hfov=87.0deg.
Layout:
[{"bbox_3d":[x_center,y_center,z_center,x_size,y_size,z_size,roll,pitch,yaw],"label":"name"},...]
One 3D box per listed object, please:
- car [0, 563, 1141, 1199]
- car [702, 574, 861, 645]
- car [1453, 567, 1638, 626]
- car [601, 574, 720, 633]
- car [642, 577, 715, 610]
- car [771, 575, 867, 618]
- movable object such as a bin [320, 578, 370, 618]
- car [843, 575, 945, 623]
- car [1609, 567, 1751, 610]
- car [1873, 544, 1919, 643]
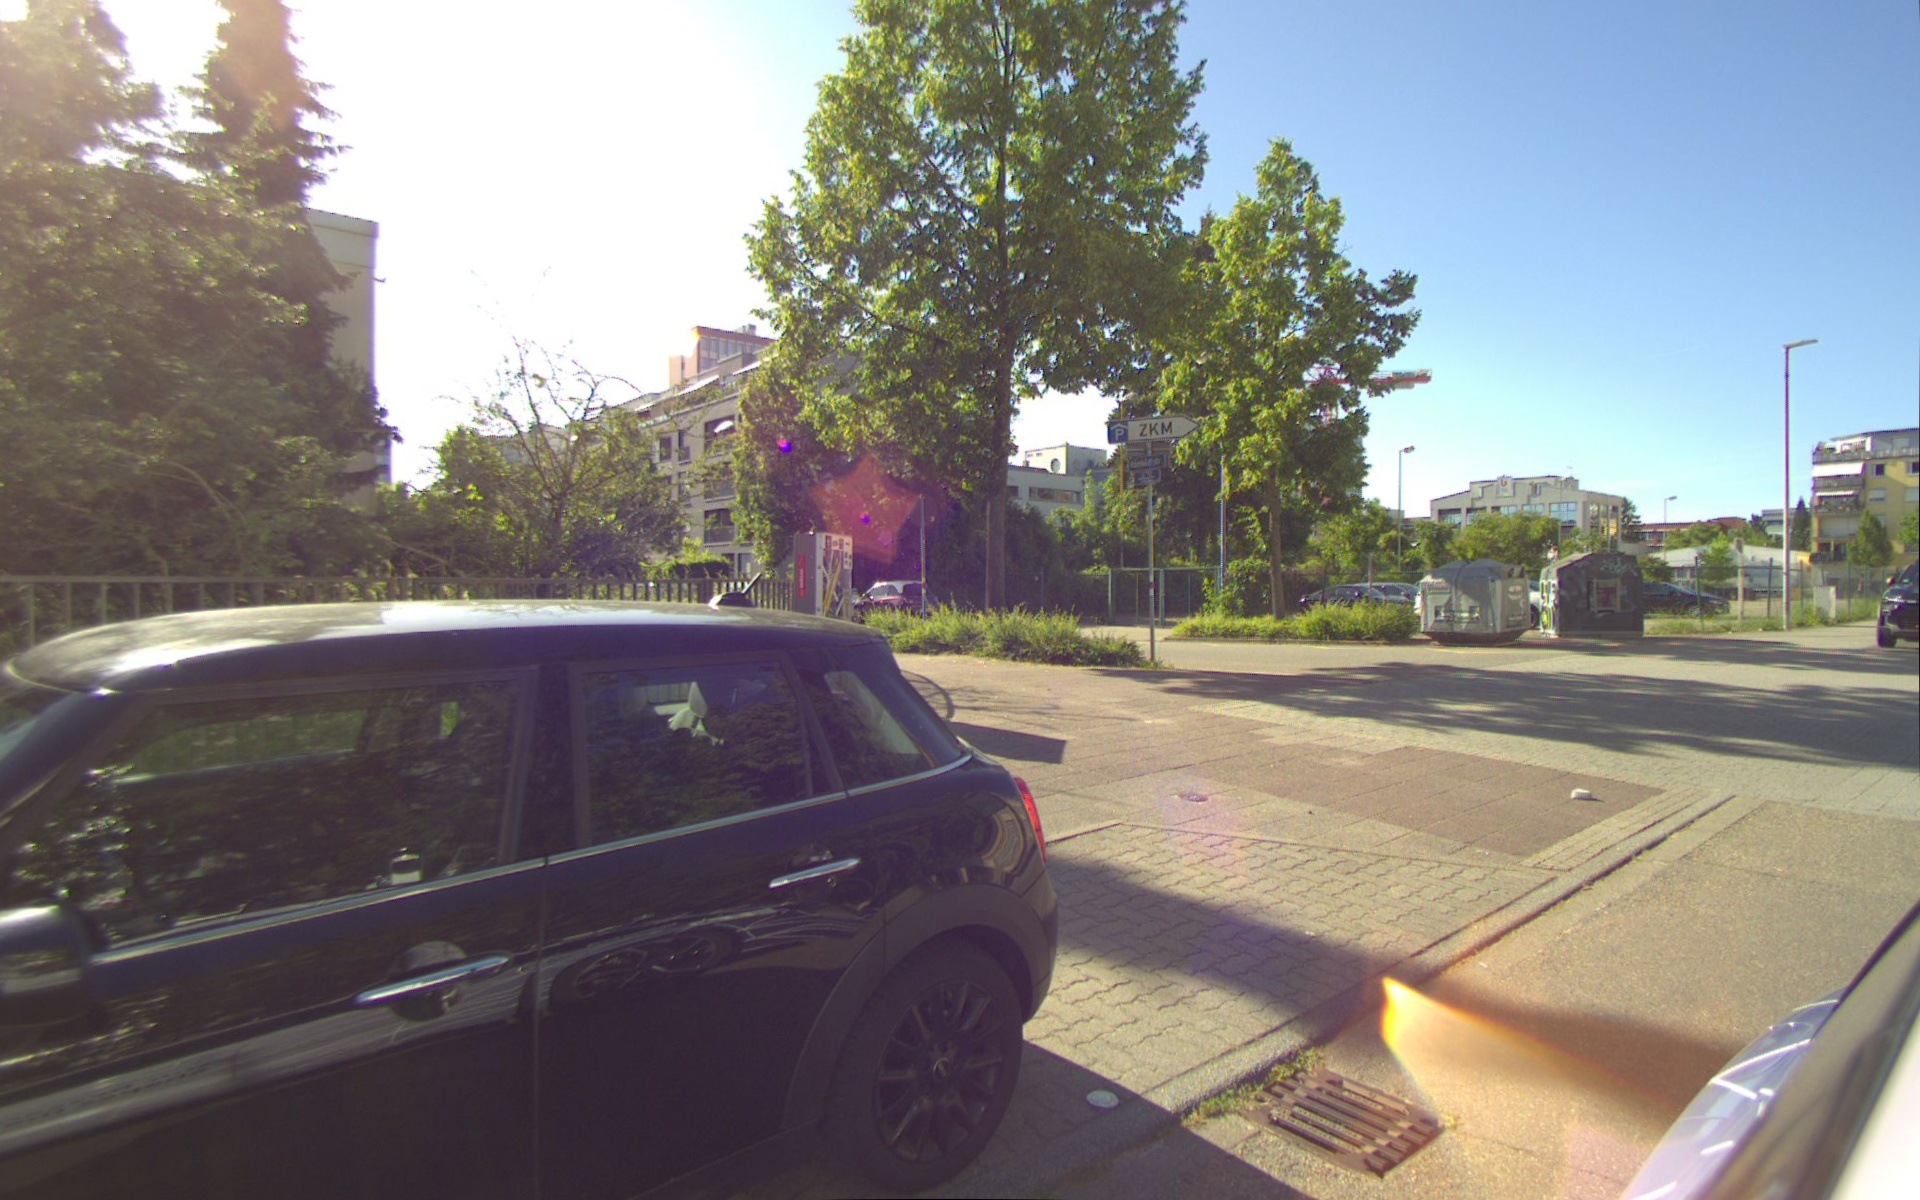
[{"bbox_3d":[-1.433,0.675,2.311,3.698,1.490,1.655,-1,3,-40],"label":"car"},{"bbox_3d":[-4.169,0.132,23.131,1.721,1.439,4.421,-1,2,-38],"label":"car"},{"bbox_3d":[17.493,-0.126,30.436,1.963,1.630,4.425,-1,1,-36],"label":"car"},{"bbox_3d":[-8.511,0.068,28.580,1.758,1.535,3.994,0,1,-40],"label":"car"},{"bbox_3d":[-13.717,-0.348,49.176,1.814,1.492,4.355,-3,3,-39],"label":"car"},{"bbox_3d":[-5.461,-0.170,38.804,1.814,1.492,3.998,-3,3,-39],"label":"car"},{"bbox_3d":[-21.990,-0.092,36.199,1.346,1.375,1.630,0,1,-38],"label":"movable object such as a bin"},{"bbox_3d":[-2.293,-0.075,34.632,1.694,1.492,3.541,-3,3,-41],"label":"car"},{"bbox_3d":[28.383,-0.470,40.018,1.862,1.579,4.242,-1,1,-36],"label":"car"},{"bbox_3d":[18.491,-0.134,18.495,4.028,1.716,1.999,-1,2,-38],"label":"car"}]
